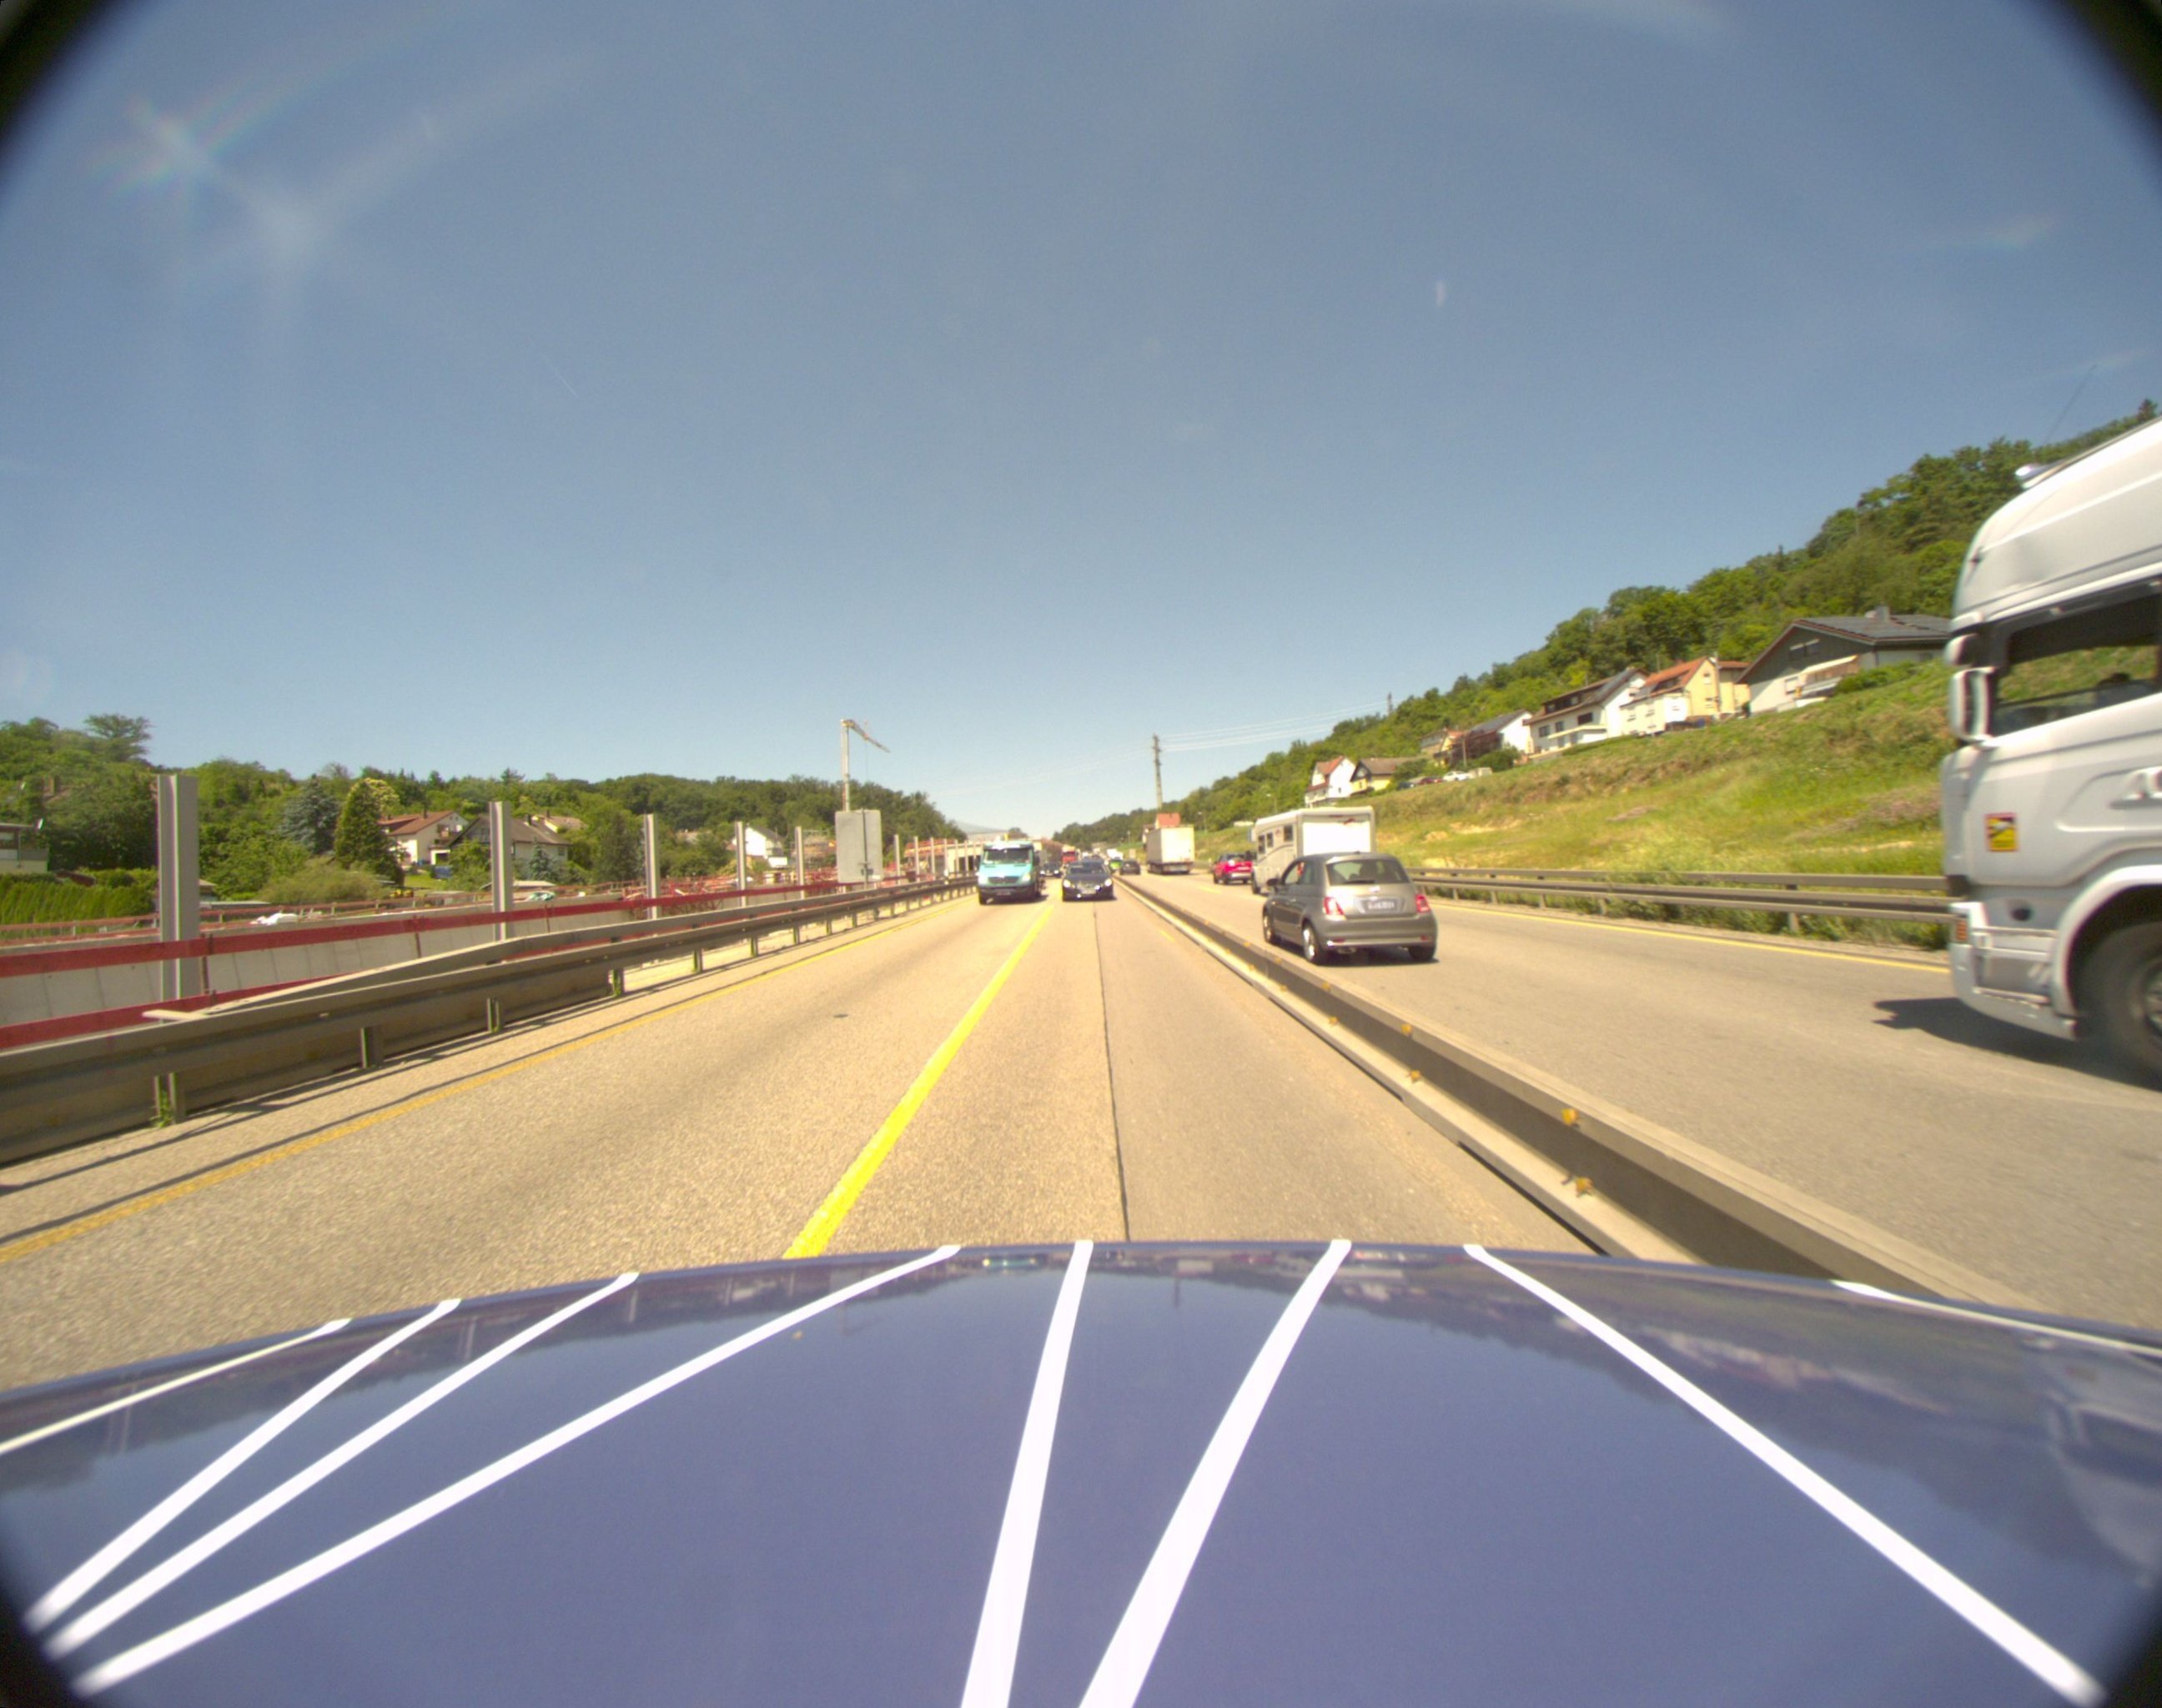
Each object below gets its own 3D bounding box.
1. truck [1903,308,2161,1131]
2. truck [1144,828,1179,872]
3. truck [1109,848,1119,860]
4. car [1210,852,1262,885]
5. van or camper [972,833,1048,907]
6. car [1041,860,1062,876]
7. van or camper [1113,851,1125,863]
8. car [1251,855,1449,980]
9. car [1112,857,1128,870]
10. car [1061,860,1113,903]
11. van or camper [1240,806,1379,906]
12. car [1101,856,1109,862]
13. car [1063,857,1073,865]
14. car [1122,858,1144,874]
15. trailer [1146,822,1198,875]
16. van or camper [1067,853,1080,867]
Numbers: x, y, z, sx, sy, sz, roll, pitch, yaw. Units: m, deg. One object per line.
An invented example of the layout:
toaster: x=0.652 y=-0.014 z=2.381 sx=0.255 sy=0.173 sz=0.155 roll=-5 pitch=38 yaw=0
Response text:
truck: x=7.006 y=-0.722 z=2.804 sx=2.781 sy=4.262 sz=4.676 roll=-2 pitch=0 yaw=0
truck: x=7.831 y=-0.406 z=74.691 sx=2.828 sy=4.100 sz=4.598 roll=-2 pitch=0 yaw=0
truck: x=9.017 y=0.041 z=209.312 sx=2.385 sy=3.411 sz=9.306 roll=-2 pitch=0 yaw=0
car: x=7.756 y=0.700 z=38.379 sx=1.721 sy=1.542 sz=4.264 roll=-2 pitch=0 yaw=0
van or camper: x=-2.590 y=0.568 z=29.788 sx=2.097 sy=2.458 sz=7.671 roll=-2 pitch=0 yaw=1
car: x=-2.535 y=1.225 z=66.803 sx=1.611 sy=1.324 sz=3.496 roll=-3 pitch=0 yaw=1
van or camper: x=8.650 y=0.642 z=173.674 sx=2.382 sy=2.634 sz=6.052 roll=-2 pitch=0 yaw=1
car: x=3.685 y=0.784 z=11.023 sx=1.633 sy=1.470 sz=3.379 roll=-2 pitch=0 yaw=0
car: x=4.702 y=1.156 z=92.038 sx=1.758 sy=1.499 sz=4.000 roll=-4 pitch=0 yaw=1
car: x=0.234 y=0.973 z=28.013 sx=1.747 sy=1.420 sz=4.000 roll=-1 pitch=0 yaw=1
van or camper: x=7.293 y=0.070 z=25.396 sx=2.340 sy=2.761 sz=7.517 roll=-2 pitch=0 yaw=0
car: x=5.591 y=1.215 z=178.383 sx=1.660 sy=1.420 sz=3.176 roll=-2 pitch=0 yaw=1
car: x=-2.266 y=1.199 z=134.831 sx=1.679 sy=1.346 sz=3.486 roll=-4 pitch=0 yaw=1
car: x=4.803 y=1.127 z=70.458 sx=1.772 sy=1.355 sz=4.411 roll=-2 pitch=0 yaw=0
trailer: x=7.808 y=-0.409 z=66.989 sx=2.864 sy=4.100 sz=13.437 roll=-2 pitch=0 yaw=0
van or camper: x=-1.531 y=1.113 z=149.992 sx=2.321 sy=2.513 sz=4.528 roll=-4 pitch=0 yaw=1
